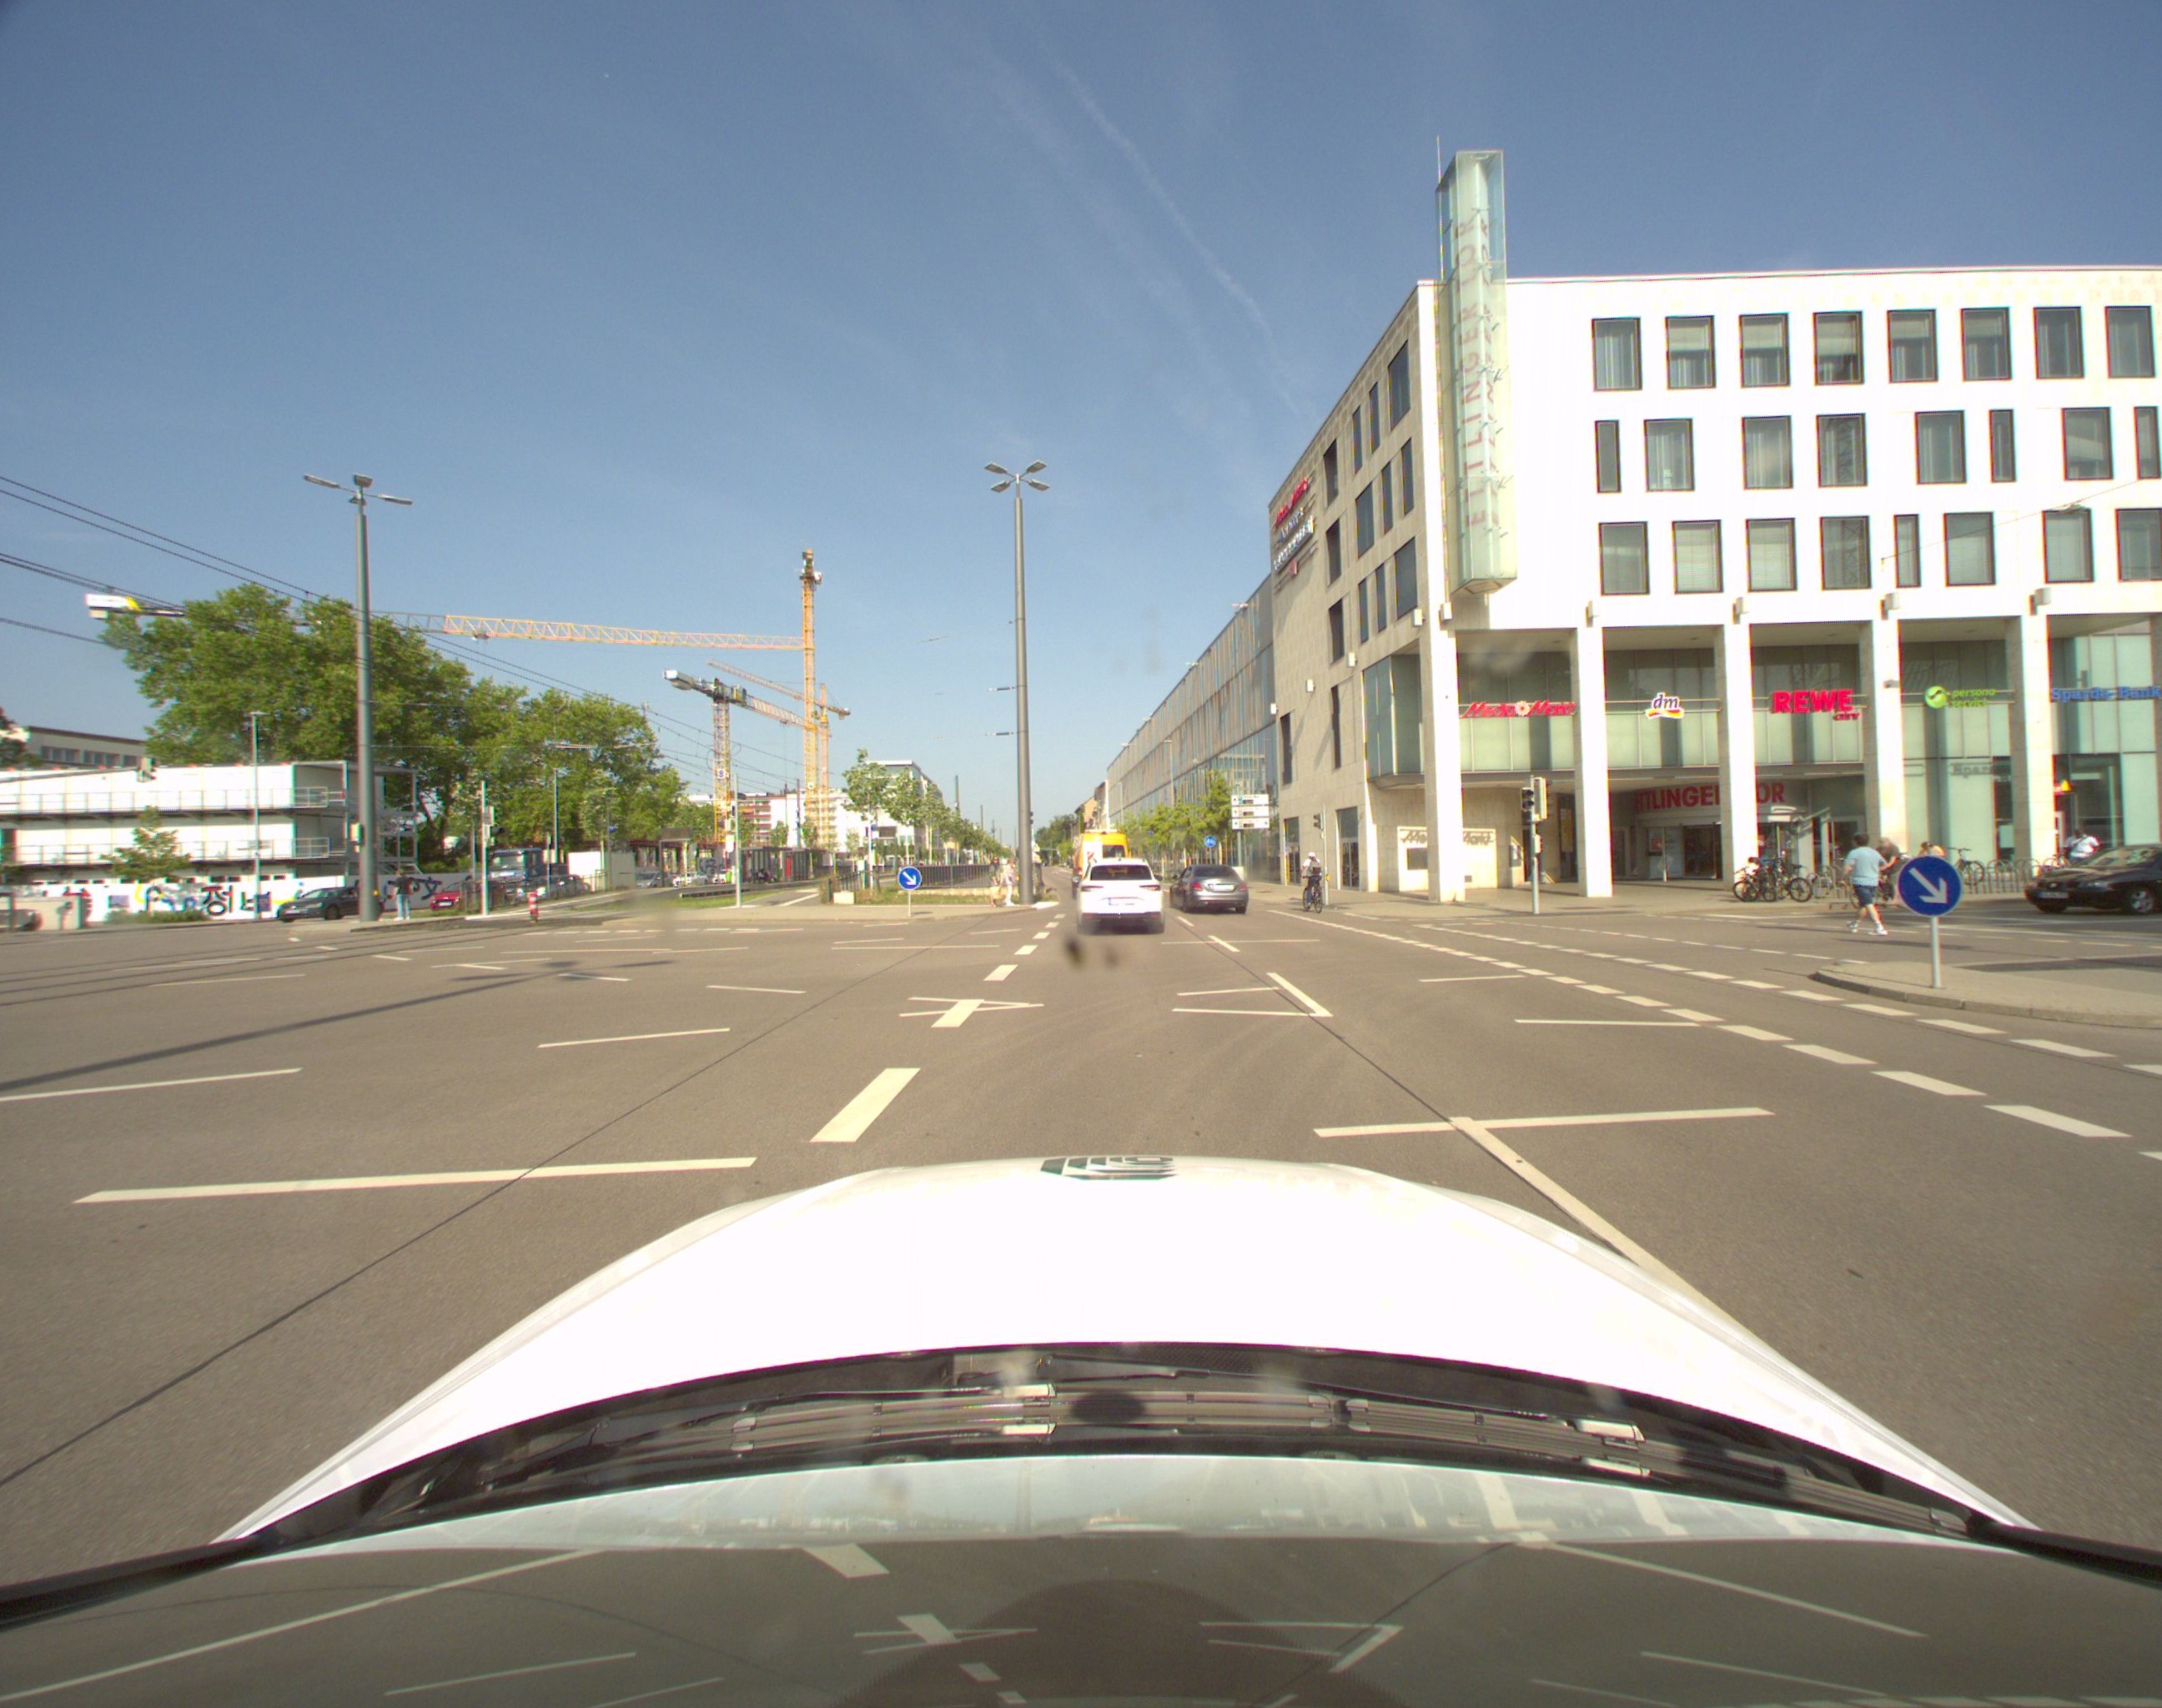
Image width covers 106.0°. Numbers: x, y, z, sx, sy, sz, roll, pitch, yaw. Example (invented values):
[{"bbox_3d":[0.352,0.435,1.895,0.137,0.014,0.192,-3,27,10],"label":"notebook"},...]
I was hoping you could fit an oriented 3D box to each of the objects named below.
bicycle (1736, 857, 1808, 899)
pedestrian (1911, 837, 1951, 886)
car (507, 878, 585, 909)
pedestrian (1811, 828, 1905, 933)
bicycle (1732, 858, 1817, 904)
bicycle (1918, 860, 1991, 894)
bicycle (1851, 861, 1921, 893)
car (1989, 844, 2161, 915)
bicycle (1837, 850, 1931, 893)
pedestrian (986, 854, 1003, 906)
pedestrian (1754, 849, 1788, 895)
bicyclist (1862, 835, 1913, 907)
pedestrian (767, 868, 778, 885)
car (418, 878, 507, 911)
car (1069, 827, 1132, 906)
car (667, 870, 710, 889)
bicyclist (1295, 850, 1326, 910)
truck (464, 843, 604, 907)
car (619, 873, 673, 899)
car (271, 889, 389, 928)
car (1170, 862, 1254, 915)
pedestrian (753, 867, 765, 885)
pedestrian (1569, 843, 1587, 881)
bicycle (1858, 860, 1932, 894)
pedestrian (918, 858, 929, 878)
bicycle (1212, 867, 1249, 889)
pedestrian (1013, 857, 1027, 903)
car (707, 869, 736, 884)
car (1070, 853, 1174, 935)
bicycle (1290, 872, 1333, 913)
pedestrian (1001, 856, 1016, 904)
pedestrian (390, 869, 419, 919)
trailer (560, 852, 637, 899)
[{"bbox_3d":[20.448,0.690,24.145,0.499,1.199,1.790,-1,-1,-4],"label":"bicycle"},{"bbox_3d":[26.220,0.234,25.126,0.605,1.485,0.731,-1,-1,-34],"label":"pedestrian"},{"bbox_3d":[-29.318,2.106,44.759,1.640,1.469,4.396,-2,0,-5],"label":"car"},{"bbox_3d":[13.215,0.431,13.886,0.640,1.711,0.991,-1,-1,4],"label":"pedestrian"},{"bbox_3d":[19.793,0.753,23.300,0.611,1.237,2.069,-1,-1,-1],"label":"bicycle"},{"bbox_3d":[25.786,0.673,24.067,0.456,0.956,1.672,-2,-1,6],"label":"bicycle"},{"bbox_3d":[24.661,0.686,24.986,0.456,0.956,1.858,-2,-1,6],"label":"bicycle"},{"bbox_3d":[22.037,0.491,17.065,3.879,1.366,1.877,-2,-1,0],"label":"car"},{"bbox_3d":[19.968,0.431,20.269,1.798,1.017,0.611,-2,-1,-4],"label":"bicycle"},{"bbox_3d":[-2.797,0.820,26.312,0.466,1.650,0.776,-1,-1,-4],"label":"pedestrian"},{"bbox_3d":[20.781,0.545,24.543,0.511,1.356,0.546,-1,-1,-10],"label":"pedestrian"},{"bbox_3d":[20.061,0.413,20.269,0.633,1.738,0.581,-1,-1,-4],"label":"bicyclist"},{"bbox_3d":[-24.159,1.742,63.791,0.680,1.300,0.591,-2,0,-7],"label":"pedestrian"},{"bbox_3d":[-29.165,1.891,38.549,1.719,1.361,3.688,-1,-1,-8],"label":"car"},{"bbox_3d":[0.659,0.437,32.164,2.016,2.796,5.394,-1,0,-3],"label":"car"},{"bbox_3d":[-35.914,2.297,74.637,1.787,1.582,4.613,-1,-1,-2],"label":"car"},{"bbox_3d":[6.842,0.768,24.322,0.649,1.749,0.769,-2,-1,-1],"label":"bicyclist"},{"bbox_3d":[-34.427,1.236,51.863,3.013,3.586,8.884,-2,0,-2],"label":"truck"},{"bbox_3d":[-30.602,2.198,57.438,1.717,1.662,4.145,-1,-1,-3],"label":"car"},{"bbox_3d":[-32.384,2.309,35.294,1.596,1.347,4.408,-2,0,-10],"label":"car"},{"bbox_3d":[3.830,0.962,24.457,1.756,1.436,4.112,0,0,-2],"label":"car"},{"bbox_3d":[-24.032,1.639,60.771,0.680,1.300,0.591,-2,0,-7],"label":"pedestrian"},{"bbox_3d":[22.253,0.366,36.462,0.457,1.678,0.500,-1,-1,-38],"label":"pedestrian"},{"bbox_3d":[24.061,0.672,24.126,0.456,0.956,1.858,-2,-1,6],"label":"bicycle"},{"bbox_3d":[-12.956,1.137,66.968,0.734,1.619,0.709,-1,-1,-5],"label":"pedestrian"},{"bbox_3d":[7.811,1.241,42.616,1.834,1.113,0.686,0,-1,-2],"label":"bicycle"},{"bbox_3d":[-2.204,0.921,29.552,0.466,1.650,0.776,-1,-1,-4],"label":"pedestrian"},{"bbox_3d":[-36.918,2.253,83.637,1.593,1.463,3.429,-1,-1,-3],"label":"car"},{"bbox_3d":[0.788,0.810,18.110,1.866,1.575,3.995,-1,-1,-3],"label":"car"},{"bbox_3d":[6.866,1.121,24.343,0.659,1.117,2.050,-2,0,-1],"label":"bicycle"},{"bbox_3d":[-2.518,0.889,28.406,0.466,1.650,0.776,-1,-1,-4],"label":"pedestrian"},{"bbox_3d":[-23.064,1.350,27.783,0.368,1.676,0.642,-2,-1,13],"label":"pedestrian"},{"bbox_3d":[-30.042,1.318,50.902,2.041,2.781,5.014,0,-1,-4],"label":"trailer"}]
